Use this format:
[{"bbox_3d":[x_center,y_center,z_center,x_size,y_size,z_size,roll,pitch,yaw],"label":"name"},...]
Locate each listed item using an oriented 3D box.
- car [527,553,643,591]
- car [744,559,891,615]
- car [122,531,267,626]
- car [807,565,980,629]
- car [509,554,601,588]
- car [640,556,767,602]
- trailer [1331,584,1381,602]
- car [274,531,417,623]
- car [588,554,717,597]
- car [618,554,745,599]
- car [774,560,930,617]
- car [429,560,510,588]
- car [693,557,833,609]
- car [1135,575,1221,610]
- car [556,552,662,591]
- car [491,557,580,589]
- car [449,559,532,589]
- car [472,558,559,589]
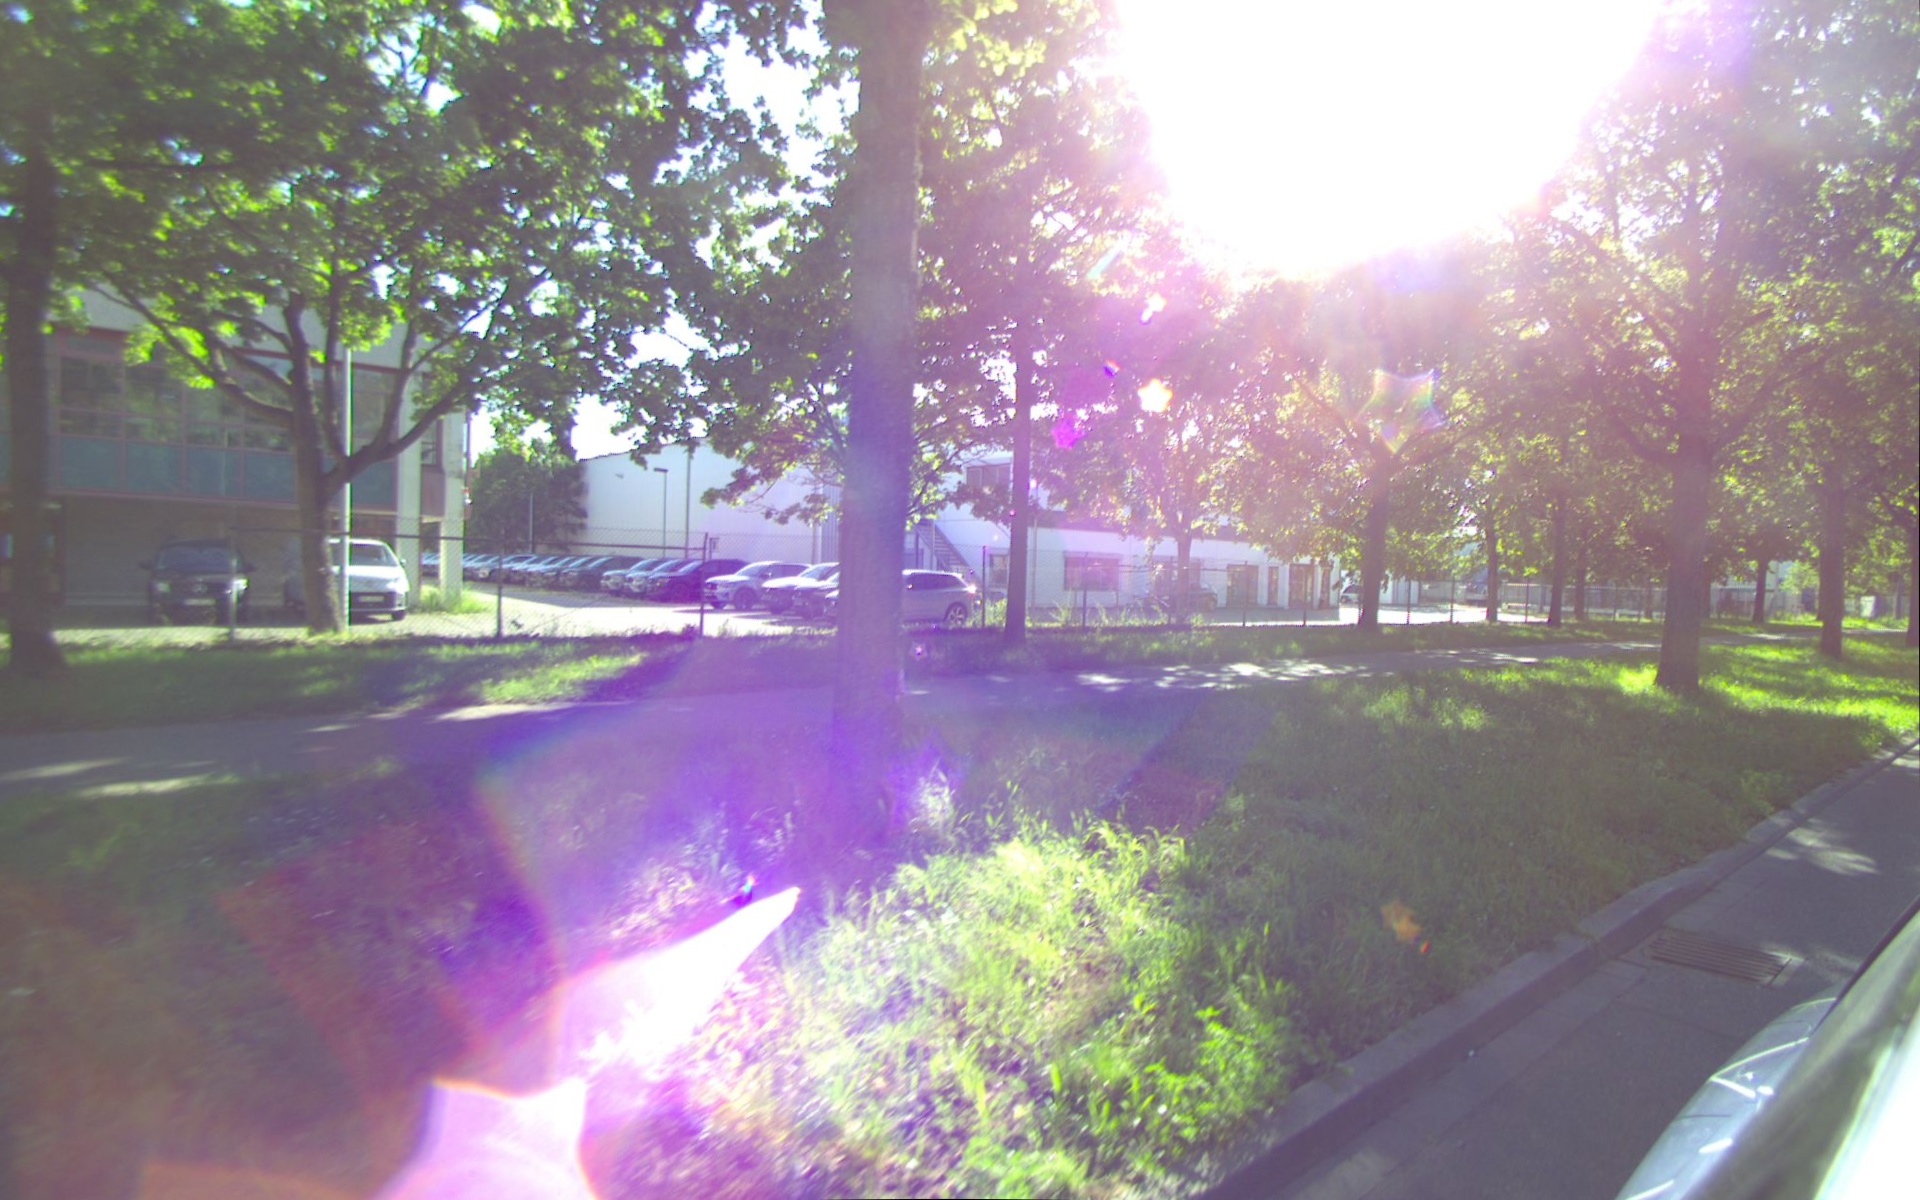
[{"bbox_3d":[-17.597,-1.276,47.643,4.861,1.694,1.743,0,0,-35],"label":"car"},{"bbox_3d":[-4.585,-0.420,32.938,4.380,1.694,1.997,0,2,-43],"label":"car"},{"bbox_3d":[-17.300,-0.537,22.775,1.968,1.907,4.951,0,3,-45],"label":"car"},{"bbox_3d":[-1.796,-0.123,28.407,4.636,1.626,1.997,-1,3,-43],"label":"car"},{"bbox_3d":[-21.508,-1.506,53.841,4.263,1.694,1.743,0,0,-35],"label":"car"},{"bbox_3d":[-9.720,-0.778,38.445,4.372,1.677,1.700,0,0,-35],"label":"car"},{"bbox_3d":[31.734,-0.552,81.276,1.694,1.282,3.604,1,2,-22],"label":"trailer"},{"bbox_3d":[-15.137,-0.640,24.808,1.864,1.983,5.067,0,3,-45],"label":"car"},{"bbox_3d":[-12.772,-0.997,42.226,4.879,1.694,1.741,0,0,-38],"label":"car"},{"bbox_3d":[-11.068,-0.920,40.376,4.630,1.694,1.707,0,0,-35],"label":"car"},{"bbox_3d":[-3.242,-0.336,30.777,4.380,1.578,1.997,0,2,-43],"label":"car"},{"bbox_3d":[-30.353,-1.569,62.666,4.263,1.694,1.743,0,0,-35],"label":"car"},{"bbox_3d":[-6.723,-0.571,34.853,1.994,1.694,4.385,1,1,44],"label":"car"},{"bbox_3d":[10.166,-0.353,47.057,4.083,1.525,1.720,0,0,-38],"label":"car"},{"bbox_3d":[-15.882,-1.251,45.866,4.263,1.694,1.743,0,0,-35],"label":"car"},{"bbox_3d":[-23.412,-1.473,55.812,4.263,1.694,1.743,0,0,-35],"label":"car"},{"bbox_3d":[-27.745,-1.531,59.867,4.263,1.694,1.743,0,0,-35],"label":"car"},{"bbox_3d":[-25.176,-1.482,57.377,4.263,1.694,1.743,0,0,-35],"label":"car"}]
